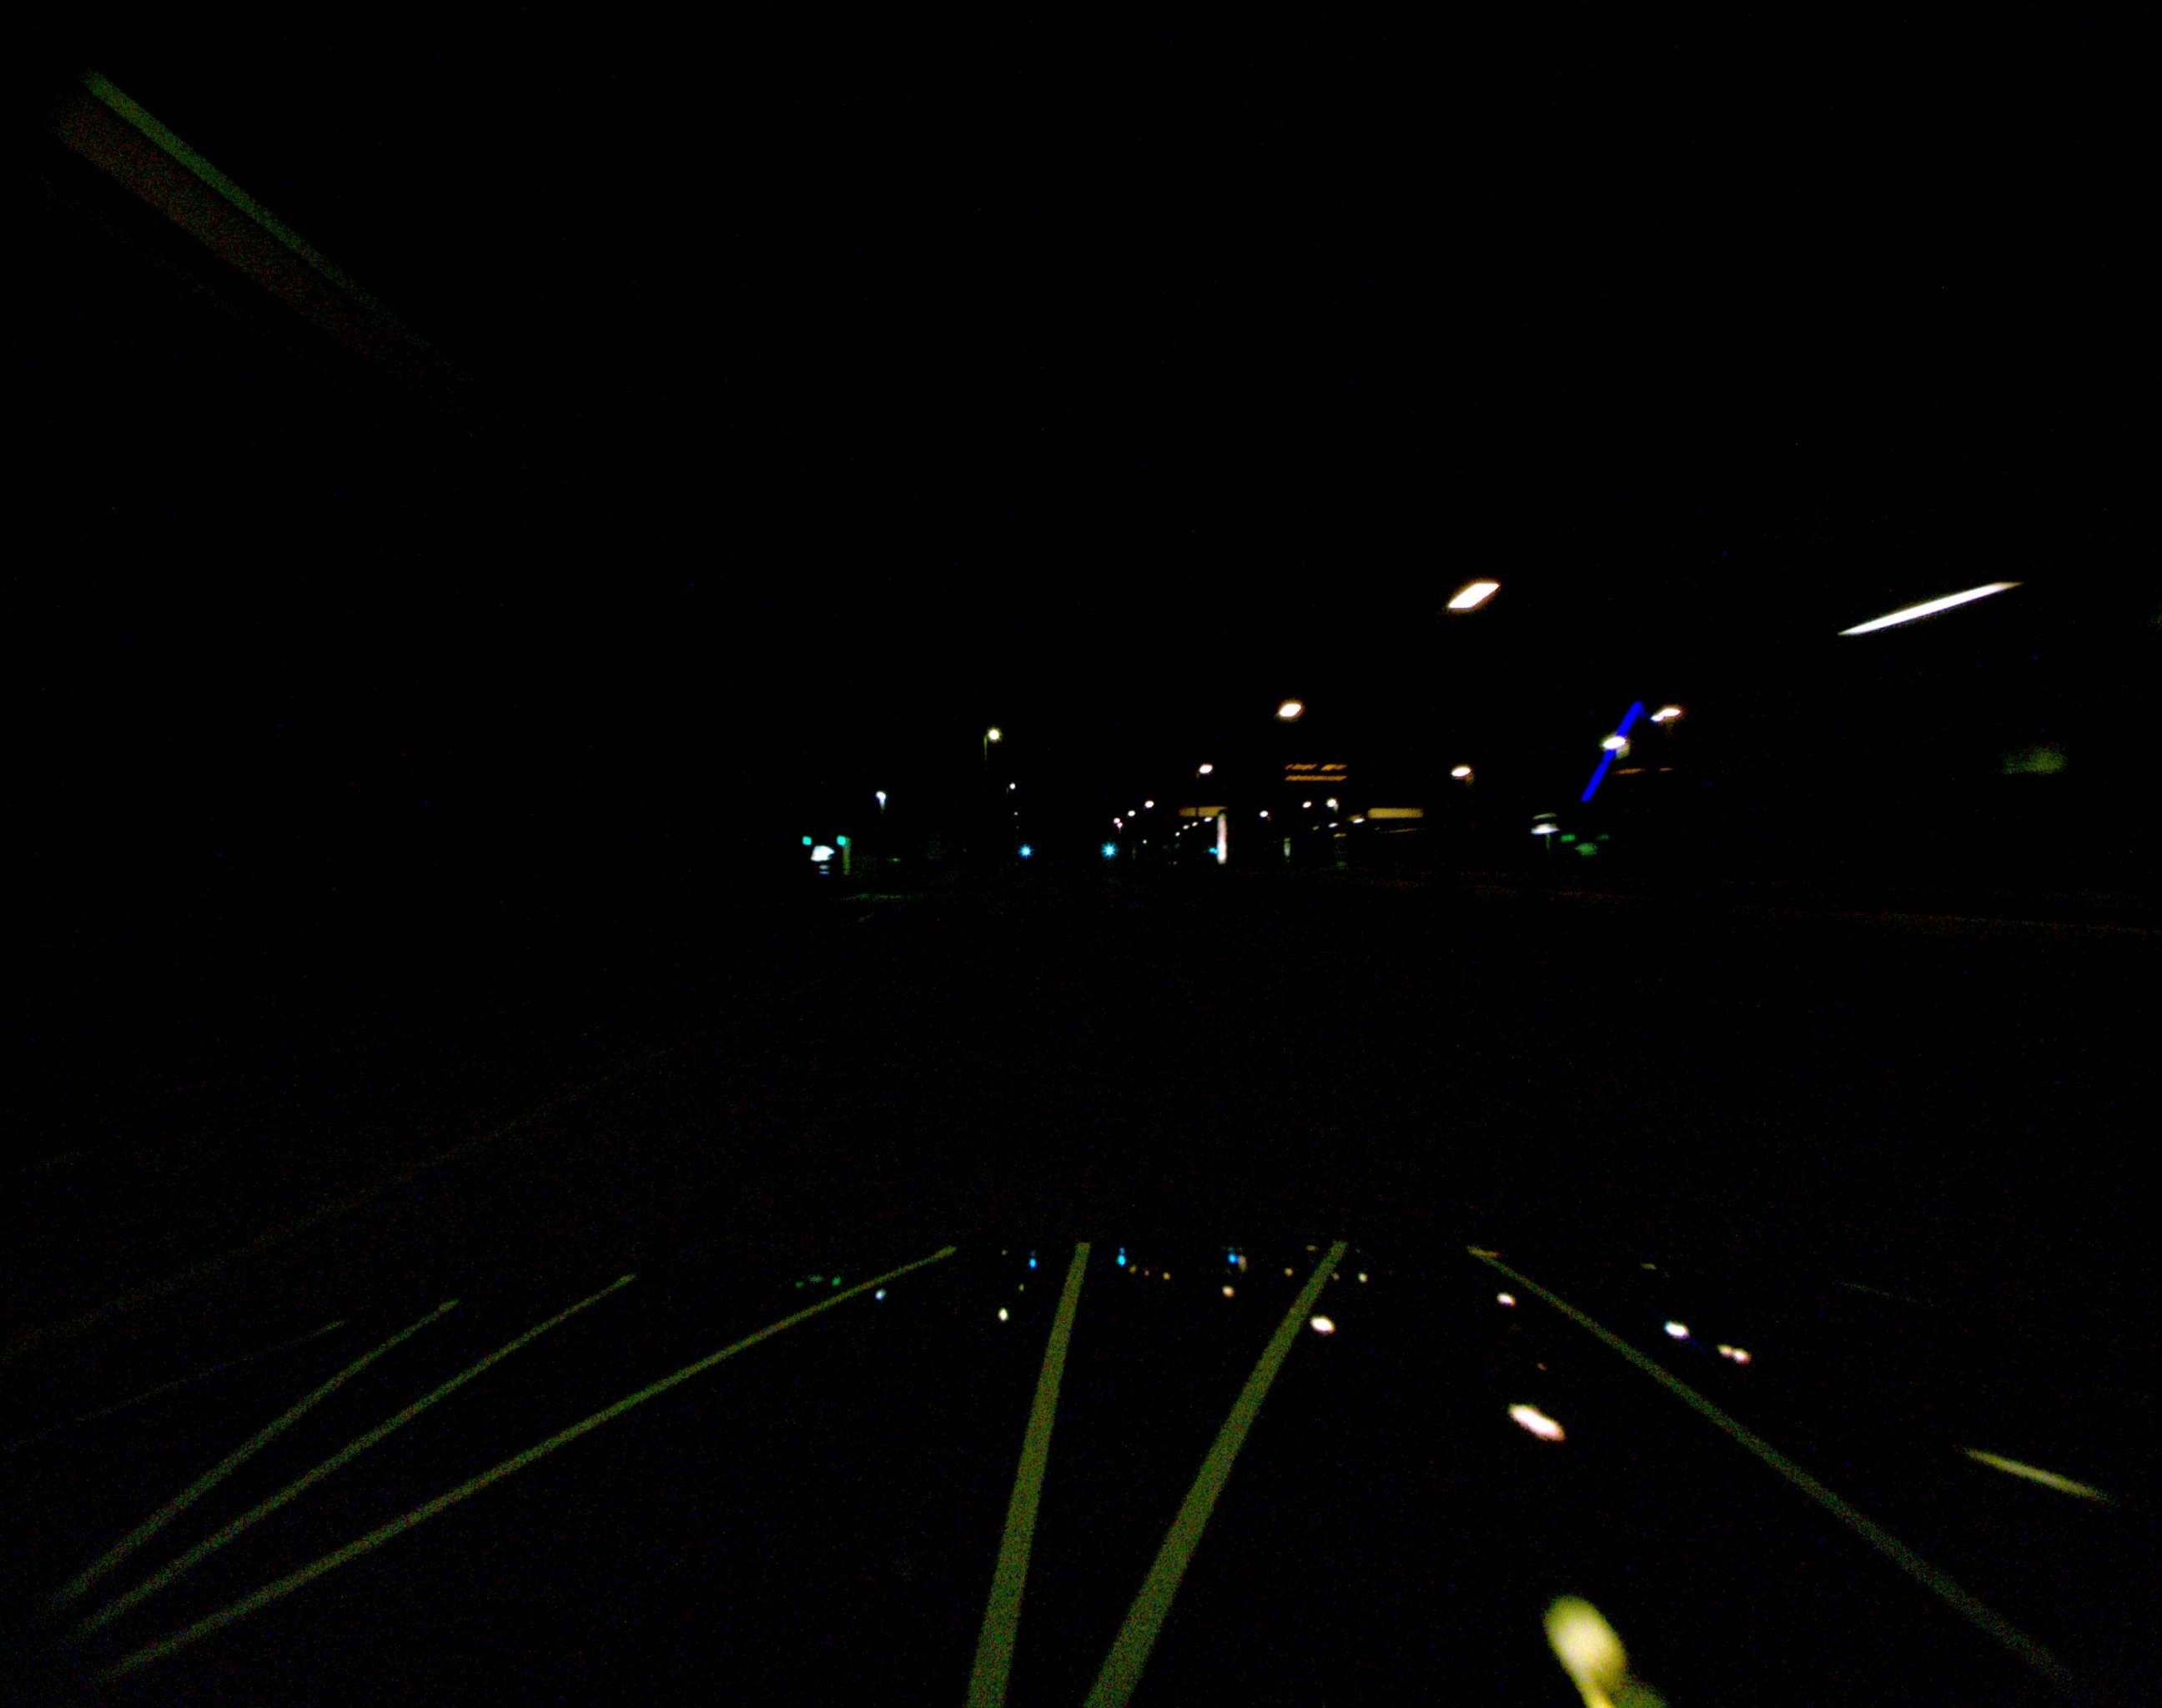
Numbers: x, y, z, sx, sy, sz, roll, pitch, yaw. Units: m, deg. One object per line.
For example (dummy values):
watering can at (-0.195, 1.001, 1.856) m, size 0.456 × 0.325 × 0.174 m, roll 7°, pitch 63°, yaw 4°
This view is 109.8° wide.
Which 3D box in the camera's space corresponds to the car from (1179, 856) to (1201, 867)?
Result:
car at (14.306, 0.987, 99.739) m, size 1.871 × 1.496 × 4.092 m, roll 0°, pitch 0°, yaw -6°
